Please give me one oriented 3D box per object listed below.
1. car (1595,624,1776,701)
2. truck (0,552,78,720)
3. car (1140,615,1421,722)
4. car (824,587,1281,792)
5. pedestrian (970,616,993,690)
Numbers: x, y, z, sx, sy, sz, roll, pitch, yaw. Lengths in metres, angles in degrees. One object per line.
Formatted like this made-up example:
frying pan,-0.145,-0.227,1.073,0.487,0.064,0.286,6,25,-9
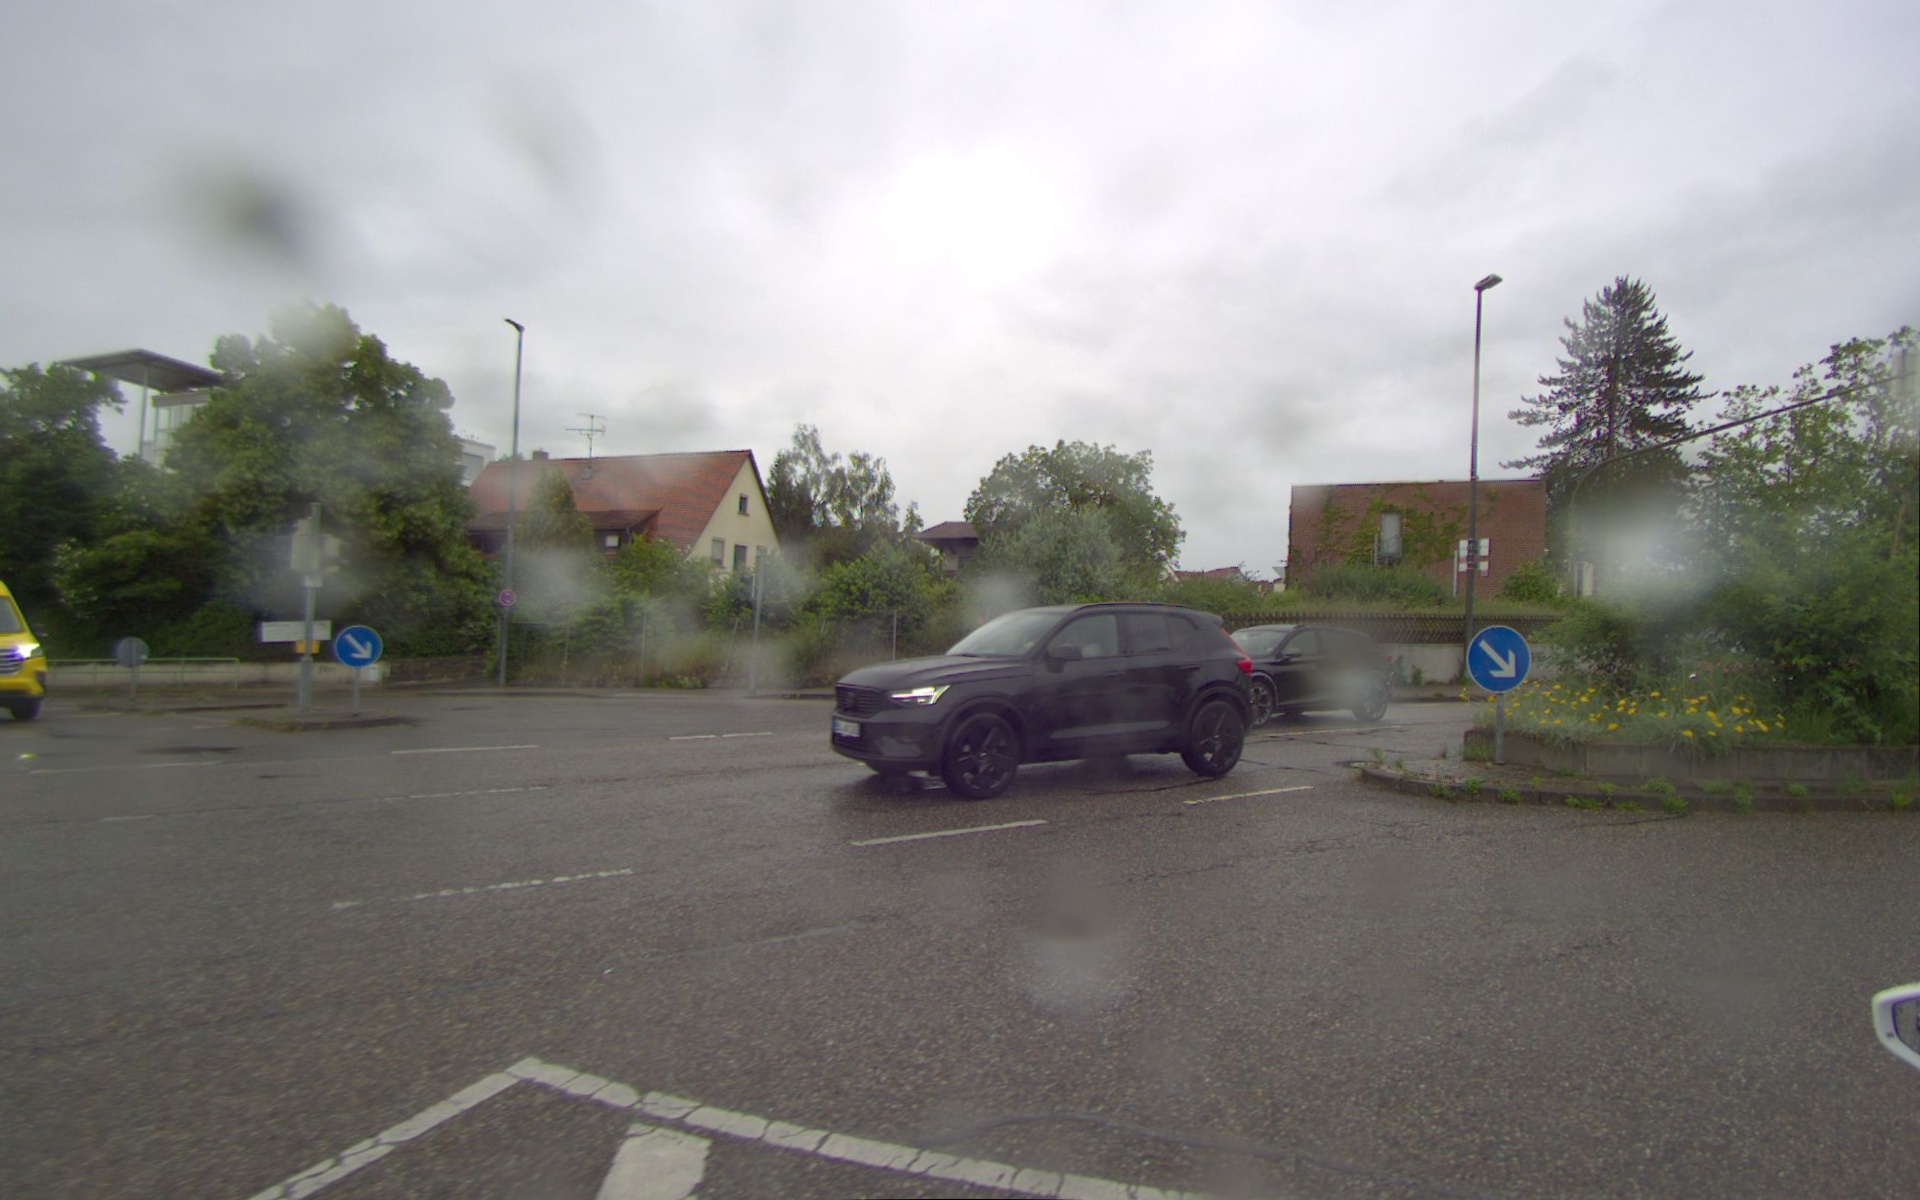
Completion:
car,16.479,1.376,22.803,3.955,1.599,1.983,2,-2,-32
truck,-17.395,0.601,16.725,6.067,2.571,2.224,-1,-4,31
car,5.110,1.079,15.936,4.246,1.497,1.941,2,-4,-30
car,0.942,0.770,9.591,4.028,1.572,1.893,2,-2,-31
pedestrian,0.489,1.197,22.867,0.490,1.663,0.553,0,-2,0
